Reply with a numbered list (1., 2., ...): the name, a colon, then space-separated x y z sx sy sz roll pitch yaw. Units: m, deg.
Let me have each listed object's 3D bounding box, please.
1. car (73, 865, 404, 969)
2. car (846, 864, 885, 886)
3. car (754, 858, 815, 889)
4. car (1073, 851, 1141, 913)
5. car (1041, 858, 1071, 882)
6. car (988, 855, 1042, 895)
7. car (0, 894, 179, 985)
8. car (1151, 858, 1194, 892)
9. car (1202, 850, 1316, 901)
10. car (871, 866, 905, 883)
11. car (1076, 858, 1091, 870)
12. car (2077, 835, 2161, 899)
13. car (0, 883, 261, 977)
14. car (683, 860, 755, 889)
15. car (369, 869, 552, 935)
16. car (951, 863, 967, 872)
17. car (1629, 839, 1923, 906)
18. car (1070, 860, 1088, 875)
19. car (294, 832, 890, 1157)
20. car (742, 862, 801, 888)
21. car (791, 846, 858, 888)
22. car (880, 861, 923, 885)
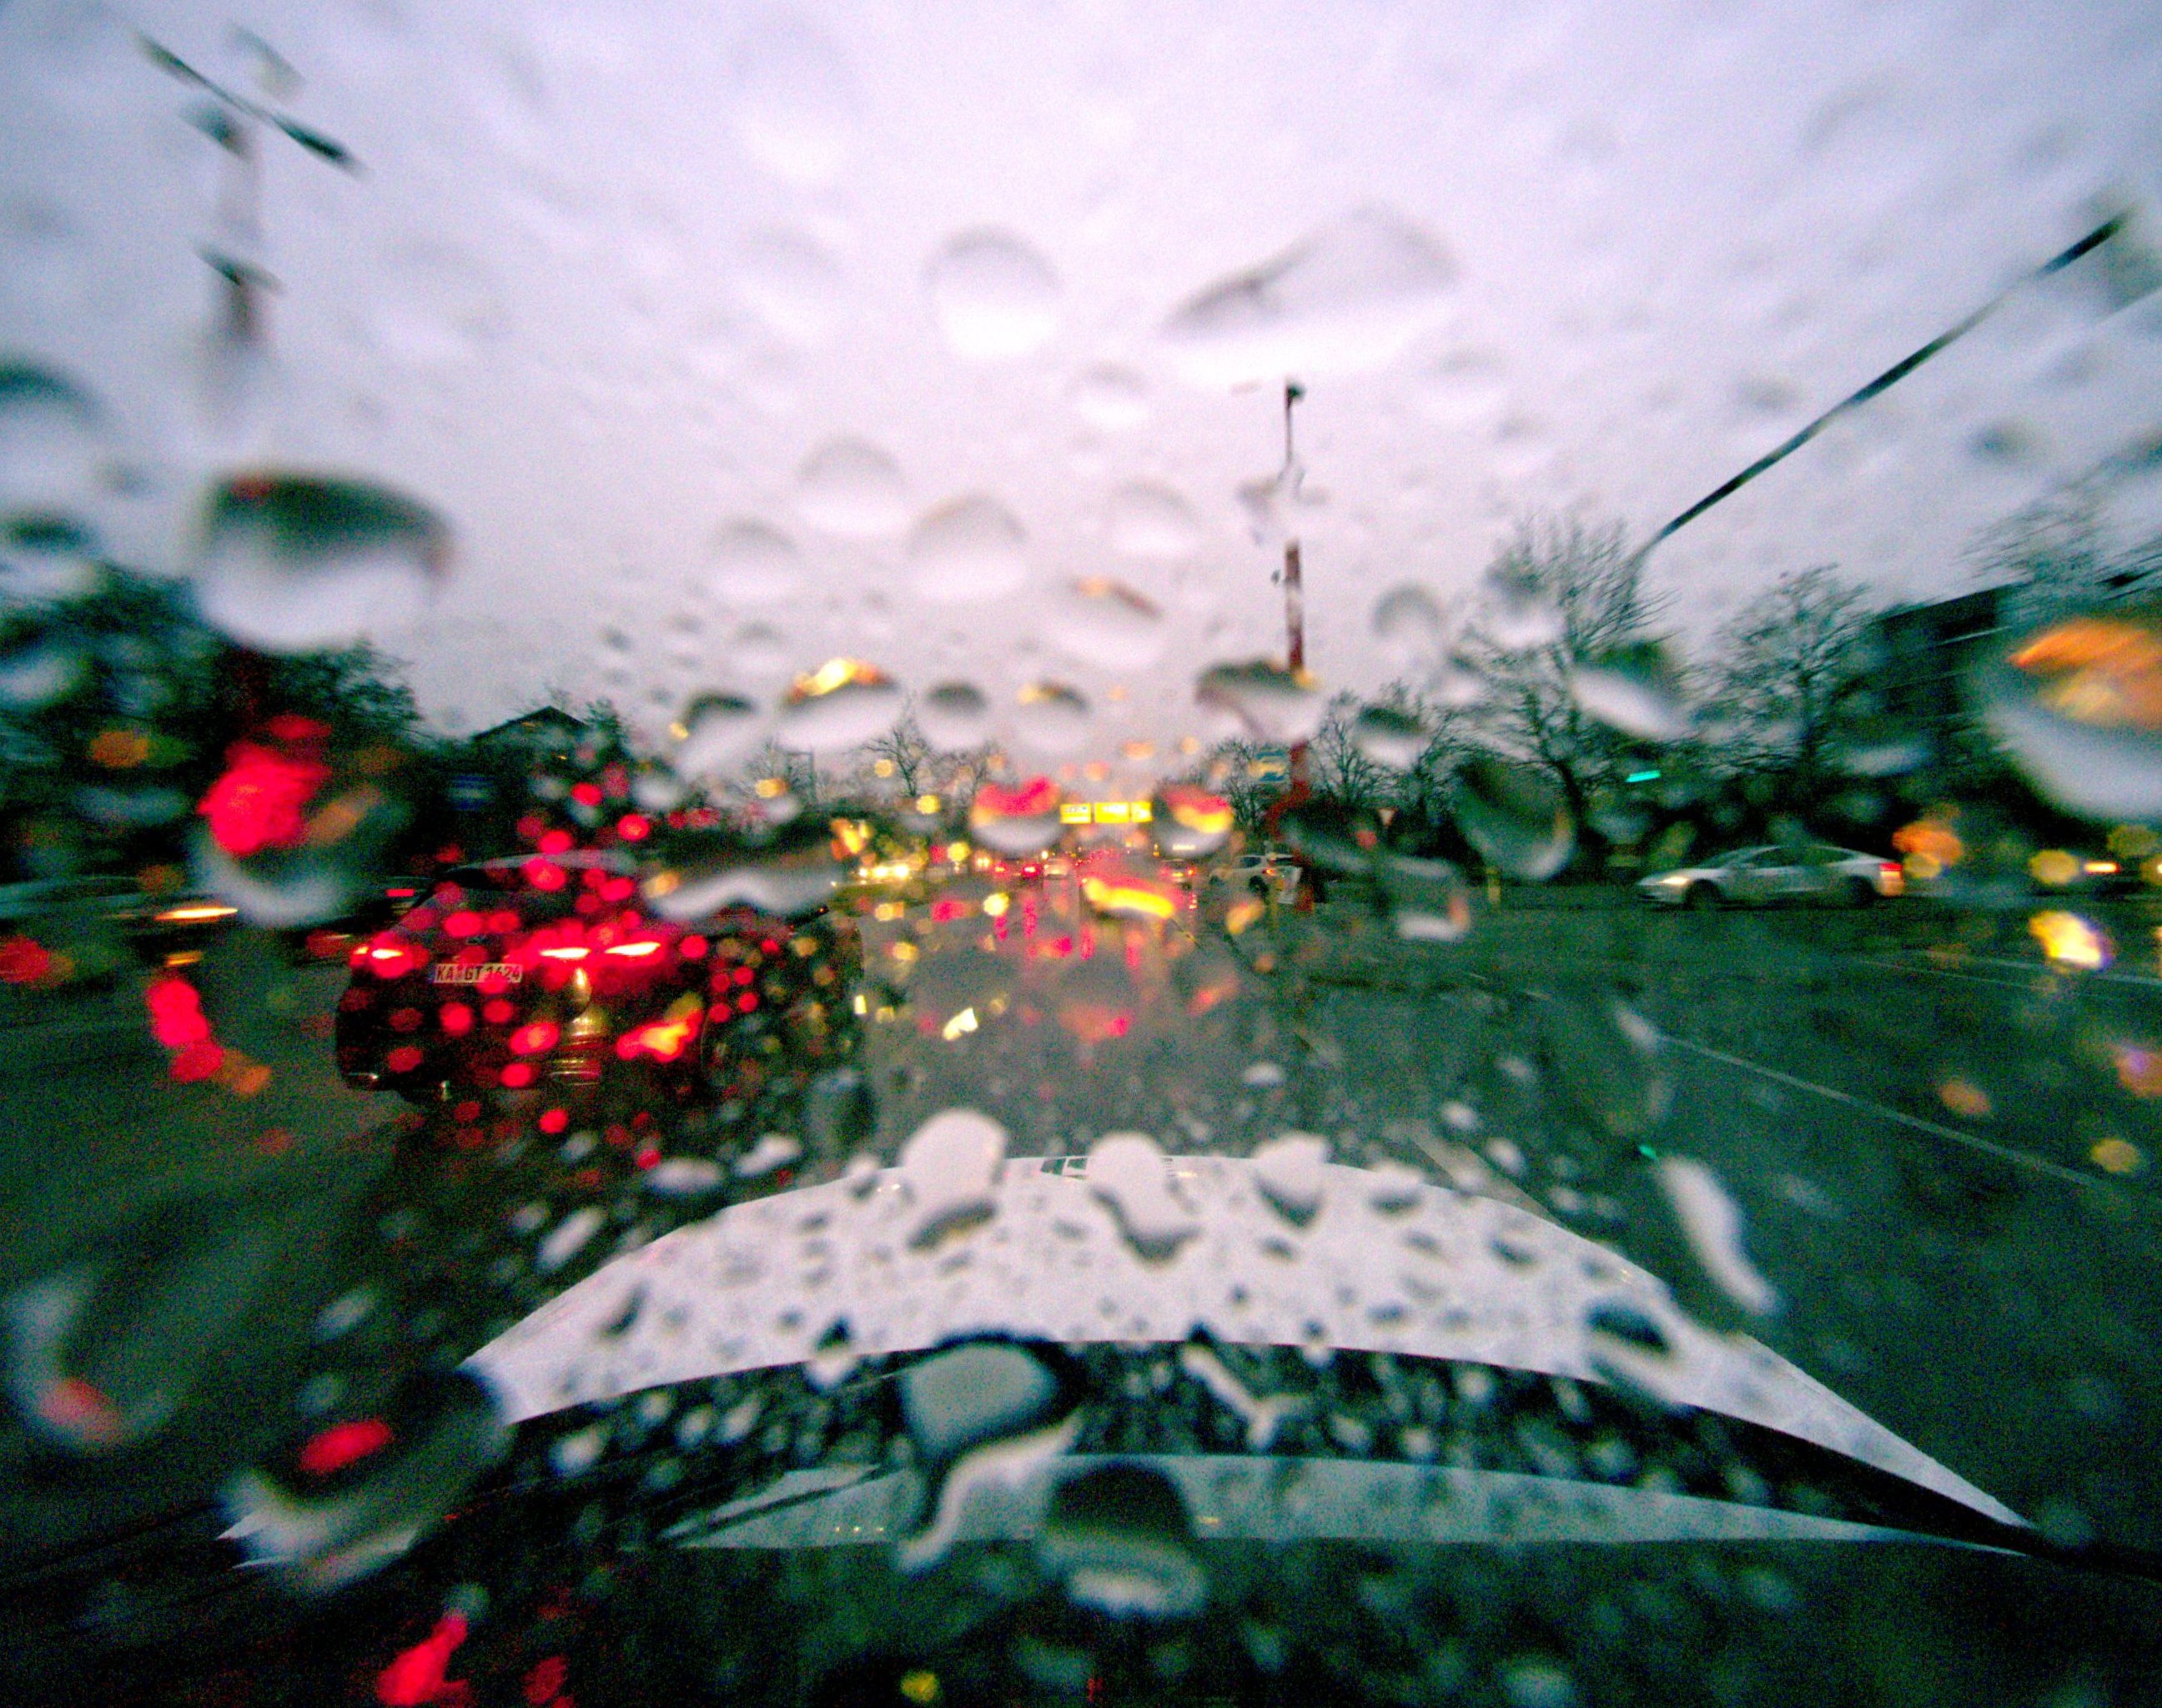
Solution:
1. car: -15.232 1.038 15.123 1.850 1.582 4.080 -1 0 1
2. car: -18.132 1.718 68.709 1.787 1.660 4.007 0 1 6
3. car: -16.347 1.027 45.168 1.763 1.586 4.035 -1 0 2
4. car: 0.818 0.772 24.438 1.815 1.648 4.470 -1 0 3
5. car: -1.790 1.144 59.279 1.815 1.648 4.003 -1 -1 3
6. car: -2.822 0.889 35.649 1.815 1.648 4.003 -1 -1 3
7. car: -20.986 1.683 16.124 1.763 1.553 3.948 -1 0 1
8. car: 4.620 1.041 41.665 1.925 1.648 4.469 0 -1 3
9. car: 6.122 0.738 28.570 1.822 1.618 4.380 -1 -1 -20
10. car: -18.111 1.906 76.542 1.896 1.446 4.445 -1 -1 2
11. car: 0.411 1.397 113.263 1.815 1.504 4.003 -1 -1 3
12. car: 24.321 0.227 17.622 3.983 1.309 1.633 -1 -1 -7
13. car: -17.729 1.313 15.070 1.646 1.420 3.327 -1 0 2
14. car: -19.926 1.088 45.054 1.763 1.490 4.651 -1 0 2
15. car: -17.564 1.295 23.359 1.850 1.598 4.289 -1 0 2
16. car: -21.087 2.259 140.706 1.985 1.477 4.076 0 0 4
17. car: 15.477 0.426 18.477 4.703 1.376 1.891 -1 -1 16
18. car: -0.175 1.218 76.635 1.499 1.339 4.003 -1 -1 3
19. car: -3.069 0.752 6.444 1.815 1.648 4.470 -1 -1 3
20. car: -19.557 1.284 51.716 1.762 1.536 4.450 -1 0 3
21. car: -19.103 0.972 61.138 2.282 3.005 7.353 0 -1 4
22. car: -12.593 1.305 57.296 1.763 1.536 4.842 -1 0 2
